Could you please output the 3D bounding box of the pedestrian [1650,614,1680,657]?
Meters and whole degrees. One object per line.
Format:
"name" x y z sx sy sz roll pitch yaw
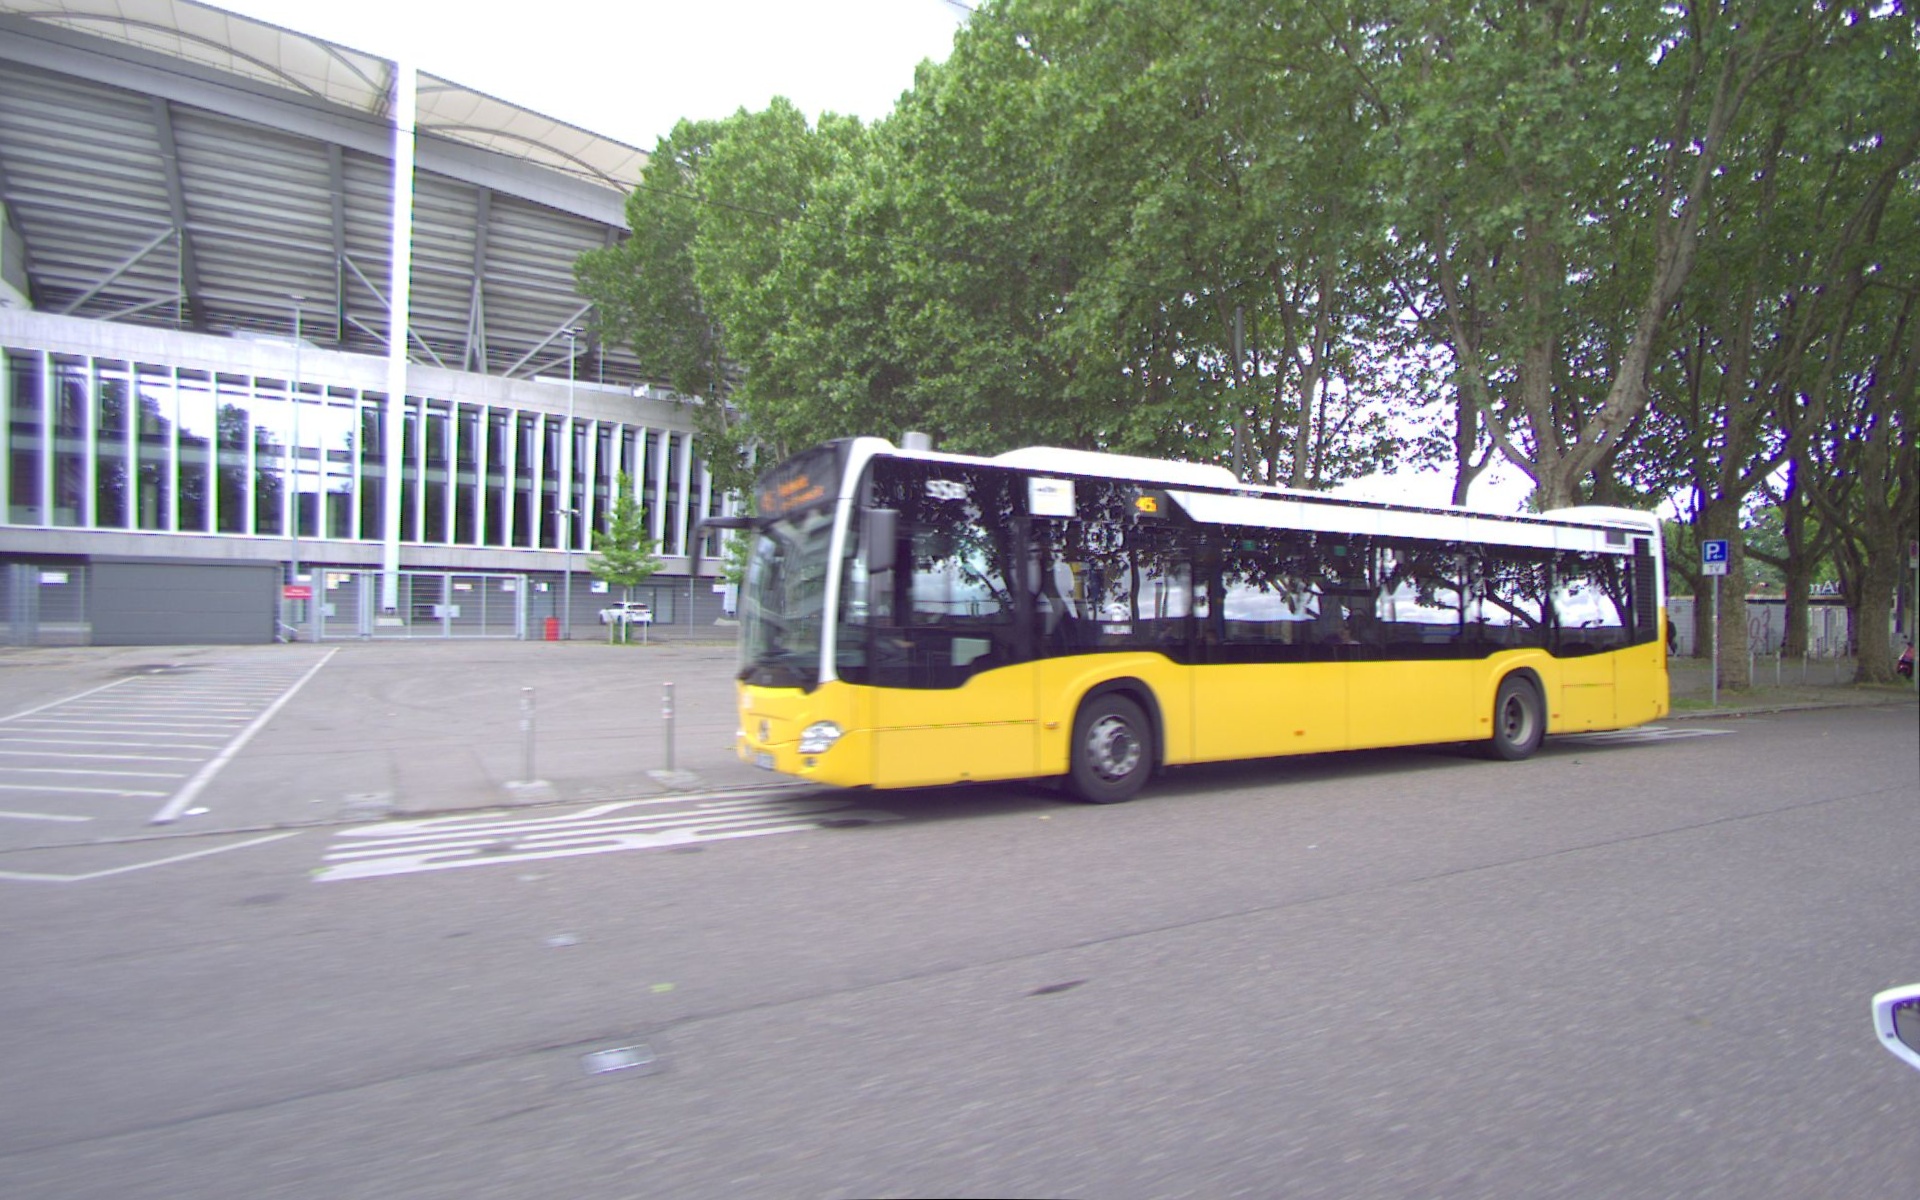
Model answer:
"pedestrian" 29.627 1.504 42.220 0.864 1.777 0.700 1 0 -30

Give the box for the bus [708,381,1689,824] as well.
"bus" 3.563 0.208 11.384 12.218 3.195 2.641 1 -4 -29

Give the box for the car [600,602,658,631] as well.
"car" -19.981 0.997 60.515 1.984 1.684 3.953 1 -1 -40

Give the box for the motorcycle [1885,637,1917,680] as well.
"motorcycle" 27.848 1.717 29.741 0.566 1.173 2.067 2 0 40
